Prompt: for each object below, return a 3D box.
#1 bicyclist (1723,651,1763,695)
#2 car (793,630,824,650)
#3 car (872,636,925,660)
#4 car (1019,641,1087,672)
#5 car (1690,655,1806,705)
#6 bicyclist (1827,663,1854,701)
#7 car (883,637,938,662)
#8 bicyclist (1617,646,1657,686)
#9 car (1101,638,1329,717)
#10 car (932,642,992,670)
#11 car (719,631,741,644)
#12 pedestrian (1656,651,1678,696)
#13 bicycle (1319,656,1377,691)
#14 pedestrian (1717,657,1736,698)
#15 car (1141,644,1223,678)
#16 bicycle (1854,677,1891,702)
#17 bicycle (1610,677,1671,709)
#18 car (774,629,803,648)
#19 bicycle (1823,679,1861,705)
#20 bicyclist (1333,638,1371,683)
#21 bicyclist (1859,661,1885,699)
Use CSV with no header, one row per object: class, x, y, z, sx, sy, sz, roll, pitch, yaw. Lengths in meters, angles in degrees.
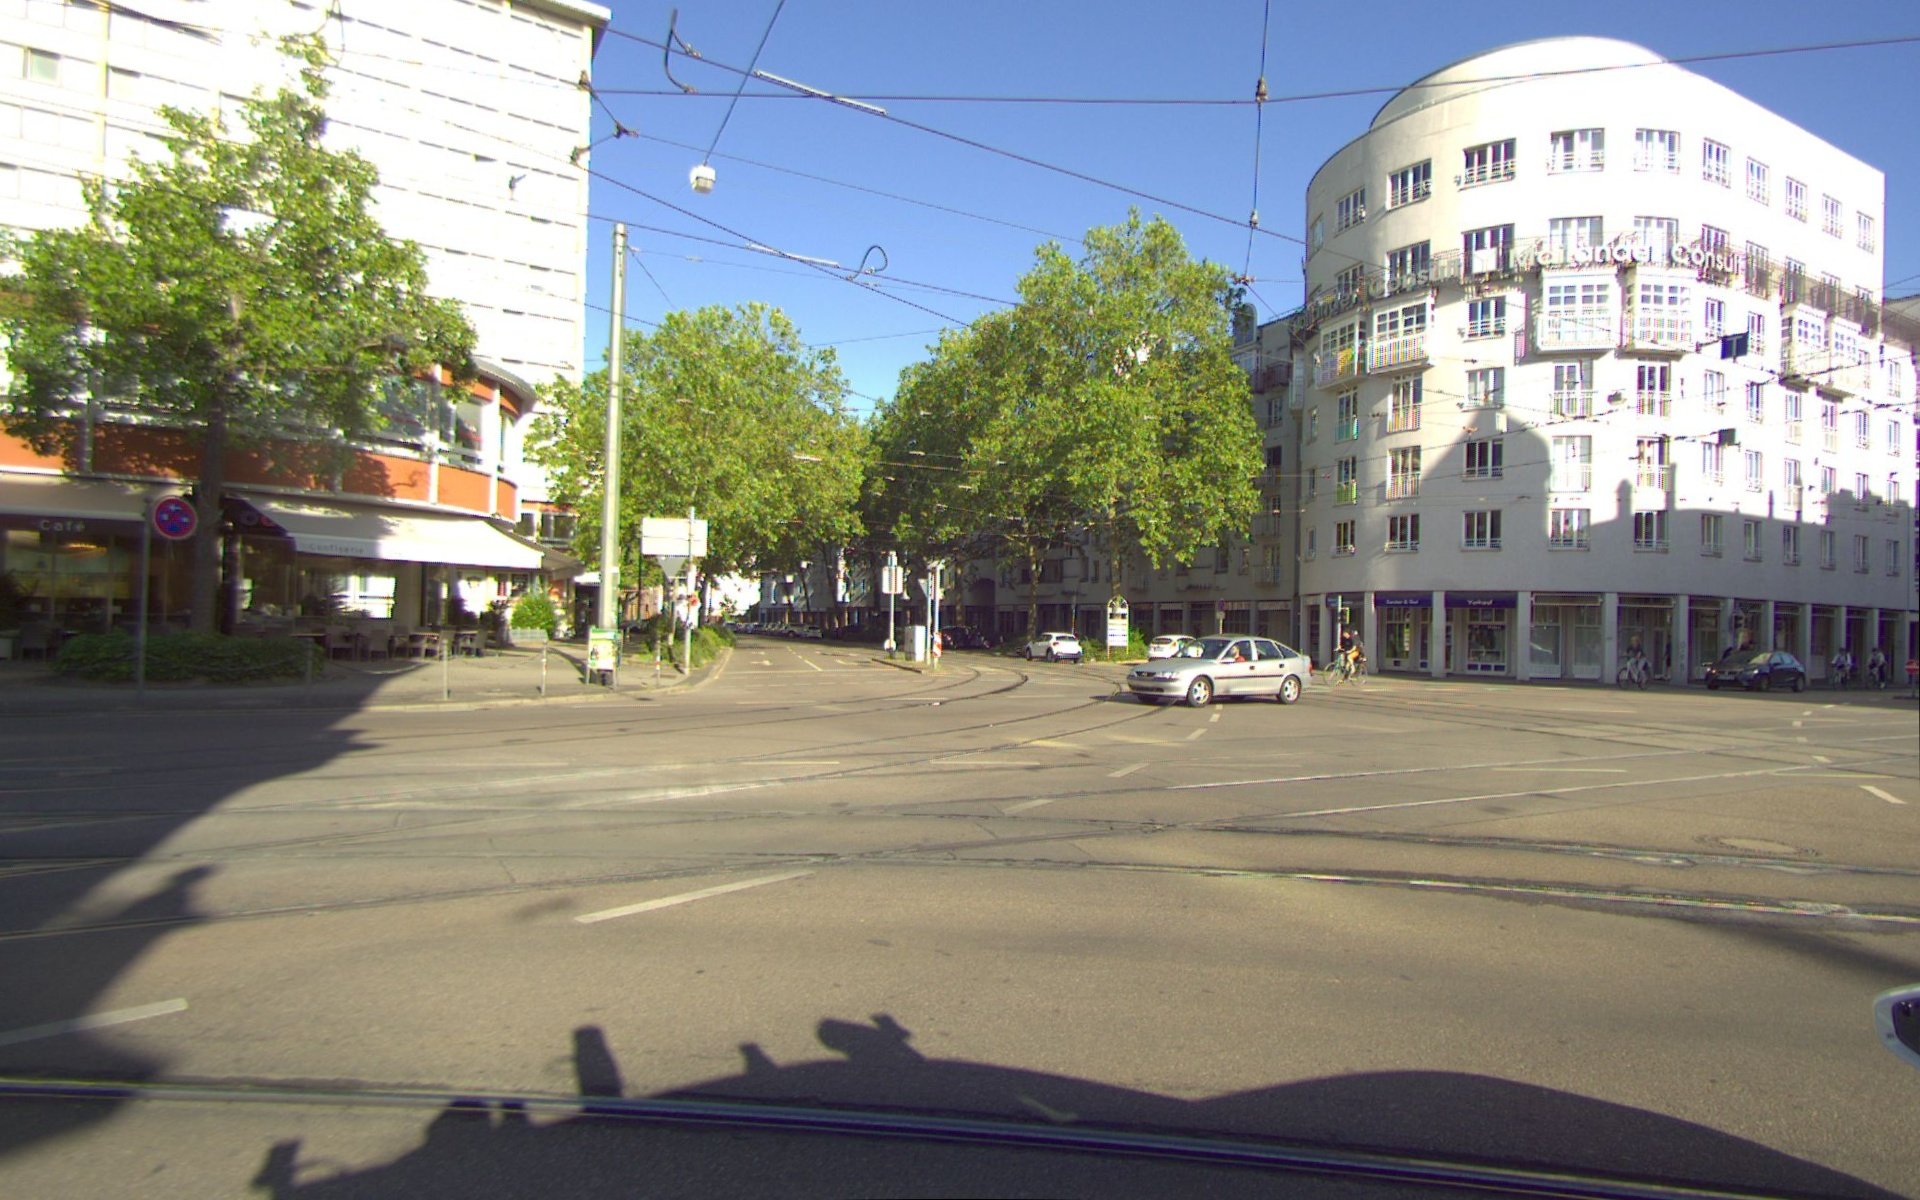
bicyclist,31.751,2.950,40.738,1.009,1.718,0.724,2,-1,0
car,-15.959,4.200,105.697,1.974,2.040,3.974,3,-3,-26
car,-5.028,3.925,82.356,3.954,1.906,1.808,3,-2,-31
car,4.694,2.847,51.295,1.778,1.421,3.985,0,-1,-24
car,28.358,2.889,36.130,3.954,1.617,1.984,4,-3,-30
bicyclist,35.971,3.343,41.045,0.917,1.507,0.586,4,-3,-30
car,-3.948,3.951,79.924,3.954,1.906,1.808,3,-2,-31
bicyclist,22.886,2.229,33.940,0.974,1.302,0.589,3,-2,-10
car,5.403,1.595,21.136,4.595,1.470,1.984,2,-2,-30
car,0.148,4.046,72.537,3.954,1.906,1.808,3,-2,-31
car,-31.680,5.127,138.259,1.975,1.739,3.973,3,-3,-27
pedestrian,29.667,3.084,42.145,0.737,1.857,0.458,1,0,-29
bicycle,11.586,2.201,29.978,1.795,0.985,0.591,4,-3,-28
pedestrian,30.080,3.035,39.430,0.434,1.554,0.683,0,0,25
car,10.483,2.850,47.311,4.071,1.421,1.781,1,-1,-42
bicycle,39.247,3.847,43.200,2.024,0.985,0.591,4,-3,-31
bicycle,22.982,3.136,33.938,1.822,0.985,0.595,3,-2,-11
car,-19.034,4.271,111.548,1.976,2.040,3.971,4,-3,-28
bicycle,36.066,3.756,41.077,1.989,0.985,0.591,4,-3,-31
bicyclist,11.707,1.807,29.993,0.915,1.302,0.586,3,-3,-28
bicyclist,39.166,3.429,43.146,0.885,1.606,0.586,4,-3,-30
